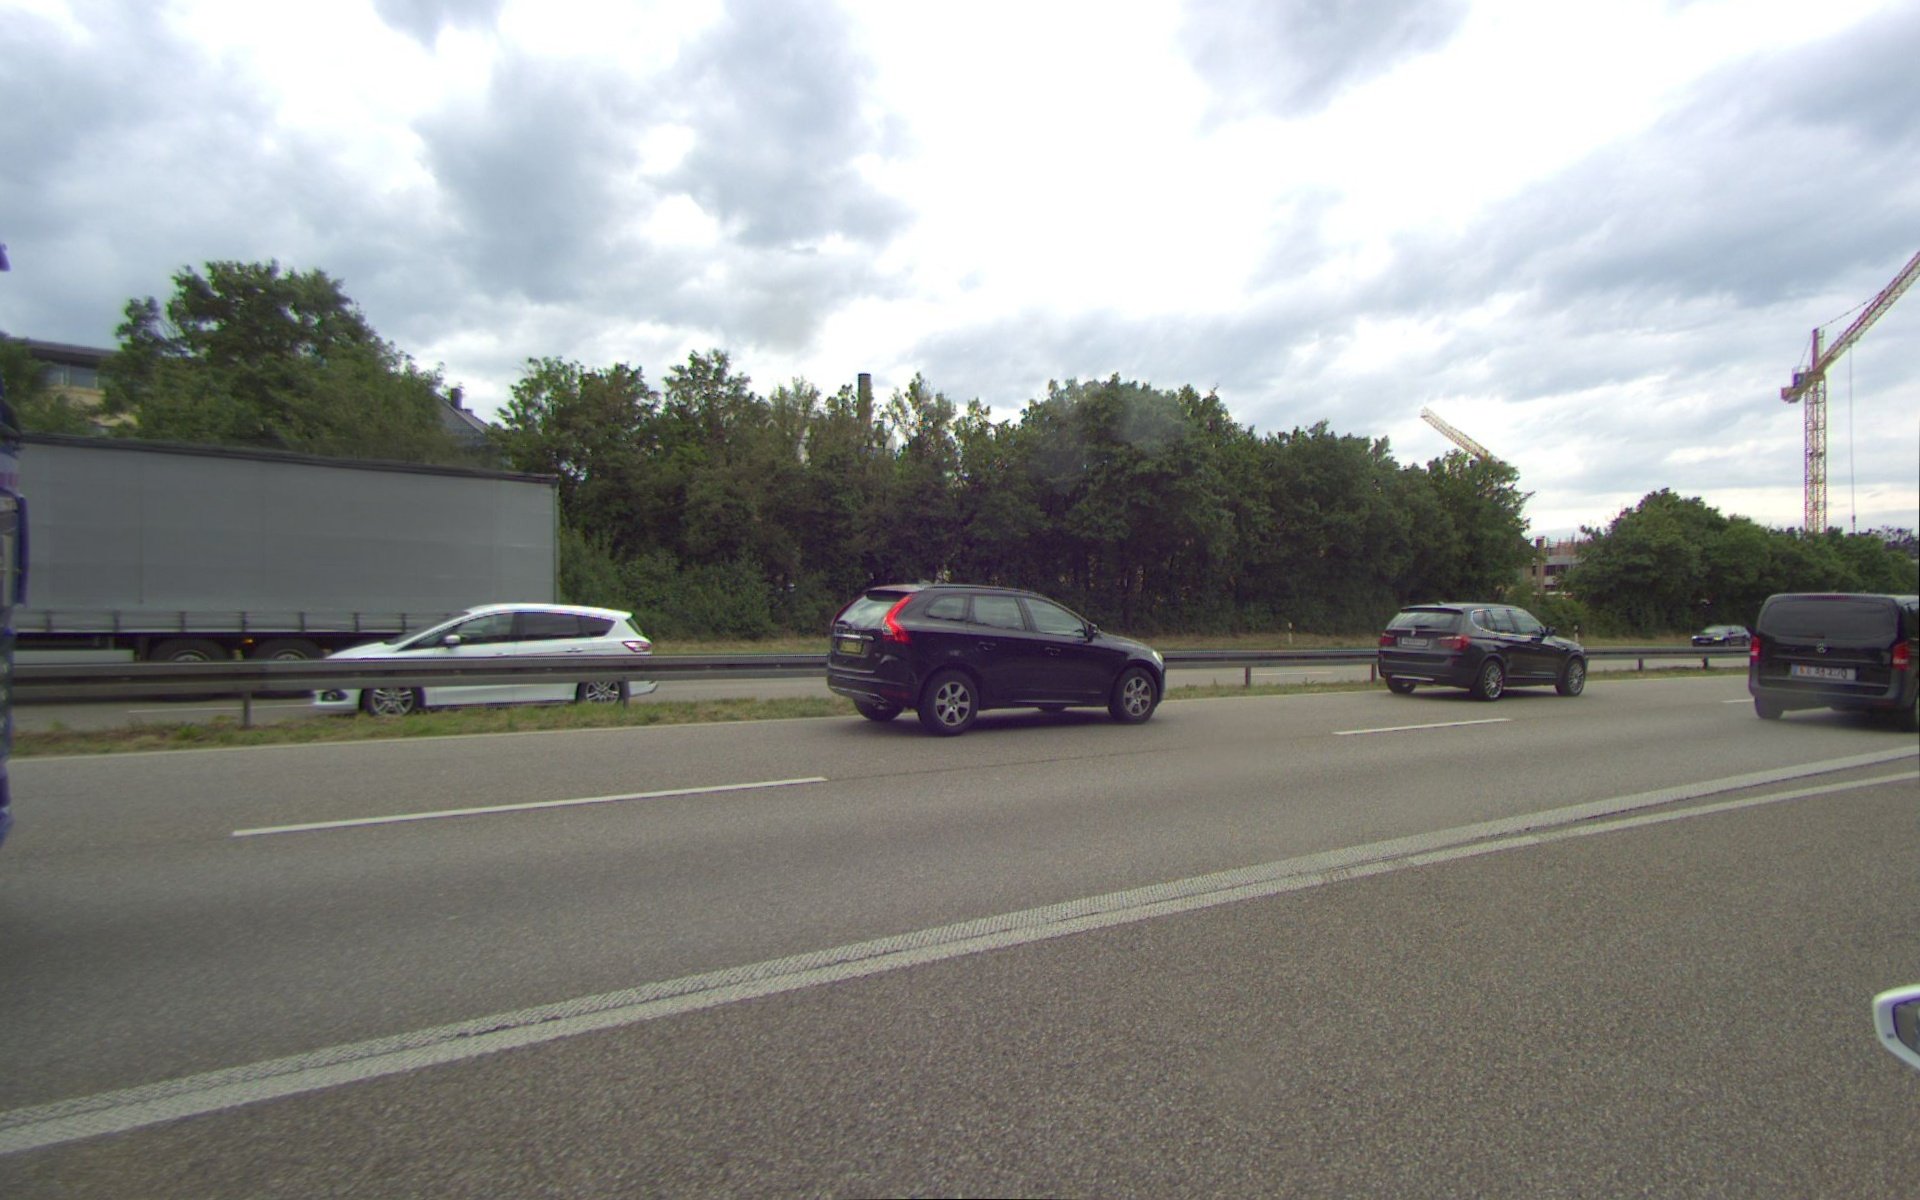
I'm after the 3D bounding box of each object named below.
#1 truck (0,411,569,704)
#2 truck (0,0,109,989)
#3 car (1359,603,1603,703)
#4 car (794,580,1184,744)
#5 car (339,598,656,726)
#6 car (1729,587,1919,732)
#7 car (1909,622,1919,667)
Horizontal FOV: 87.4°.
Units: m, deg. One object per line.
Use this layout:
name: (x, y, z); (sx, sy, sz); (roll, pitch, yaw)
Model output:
truck: (-14.142, -0.588, 15.631); (14.739, 4.145, 2.965); (1, -1, -35)
truck: (-6.363, -0.768, 2.201); (6.523, 4.096, 2.544); (2, 0, -35)
car: (9.607, 0.921, 18.432); (4.598, 1.635, 1.851); (1, -1, -31)
car: (0.461, 0.685, 12.306); (4.633, 1.677, 1.736); (1, -1, -33)
car: (-6.953, 0.868, 15.271); (4.168, 1.711, 1.591); (1, -1, -34)
car: (14.128, 0.848, 15.530); (4.931, 1.923, 1.976); (2, 0, -33)
car: (33.765, 1.526, 33.506); (4.643, 1.467, 1.706); (2, 0, -29)
